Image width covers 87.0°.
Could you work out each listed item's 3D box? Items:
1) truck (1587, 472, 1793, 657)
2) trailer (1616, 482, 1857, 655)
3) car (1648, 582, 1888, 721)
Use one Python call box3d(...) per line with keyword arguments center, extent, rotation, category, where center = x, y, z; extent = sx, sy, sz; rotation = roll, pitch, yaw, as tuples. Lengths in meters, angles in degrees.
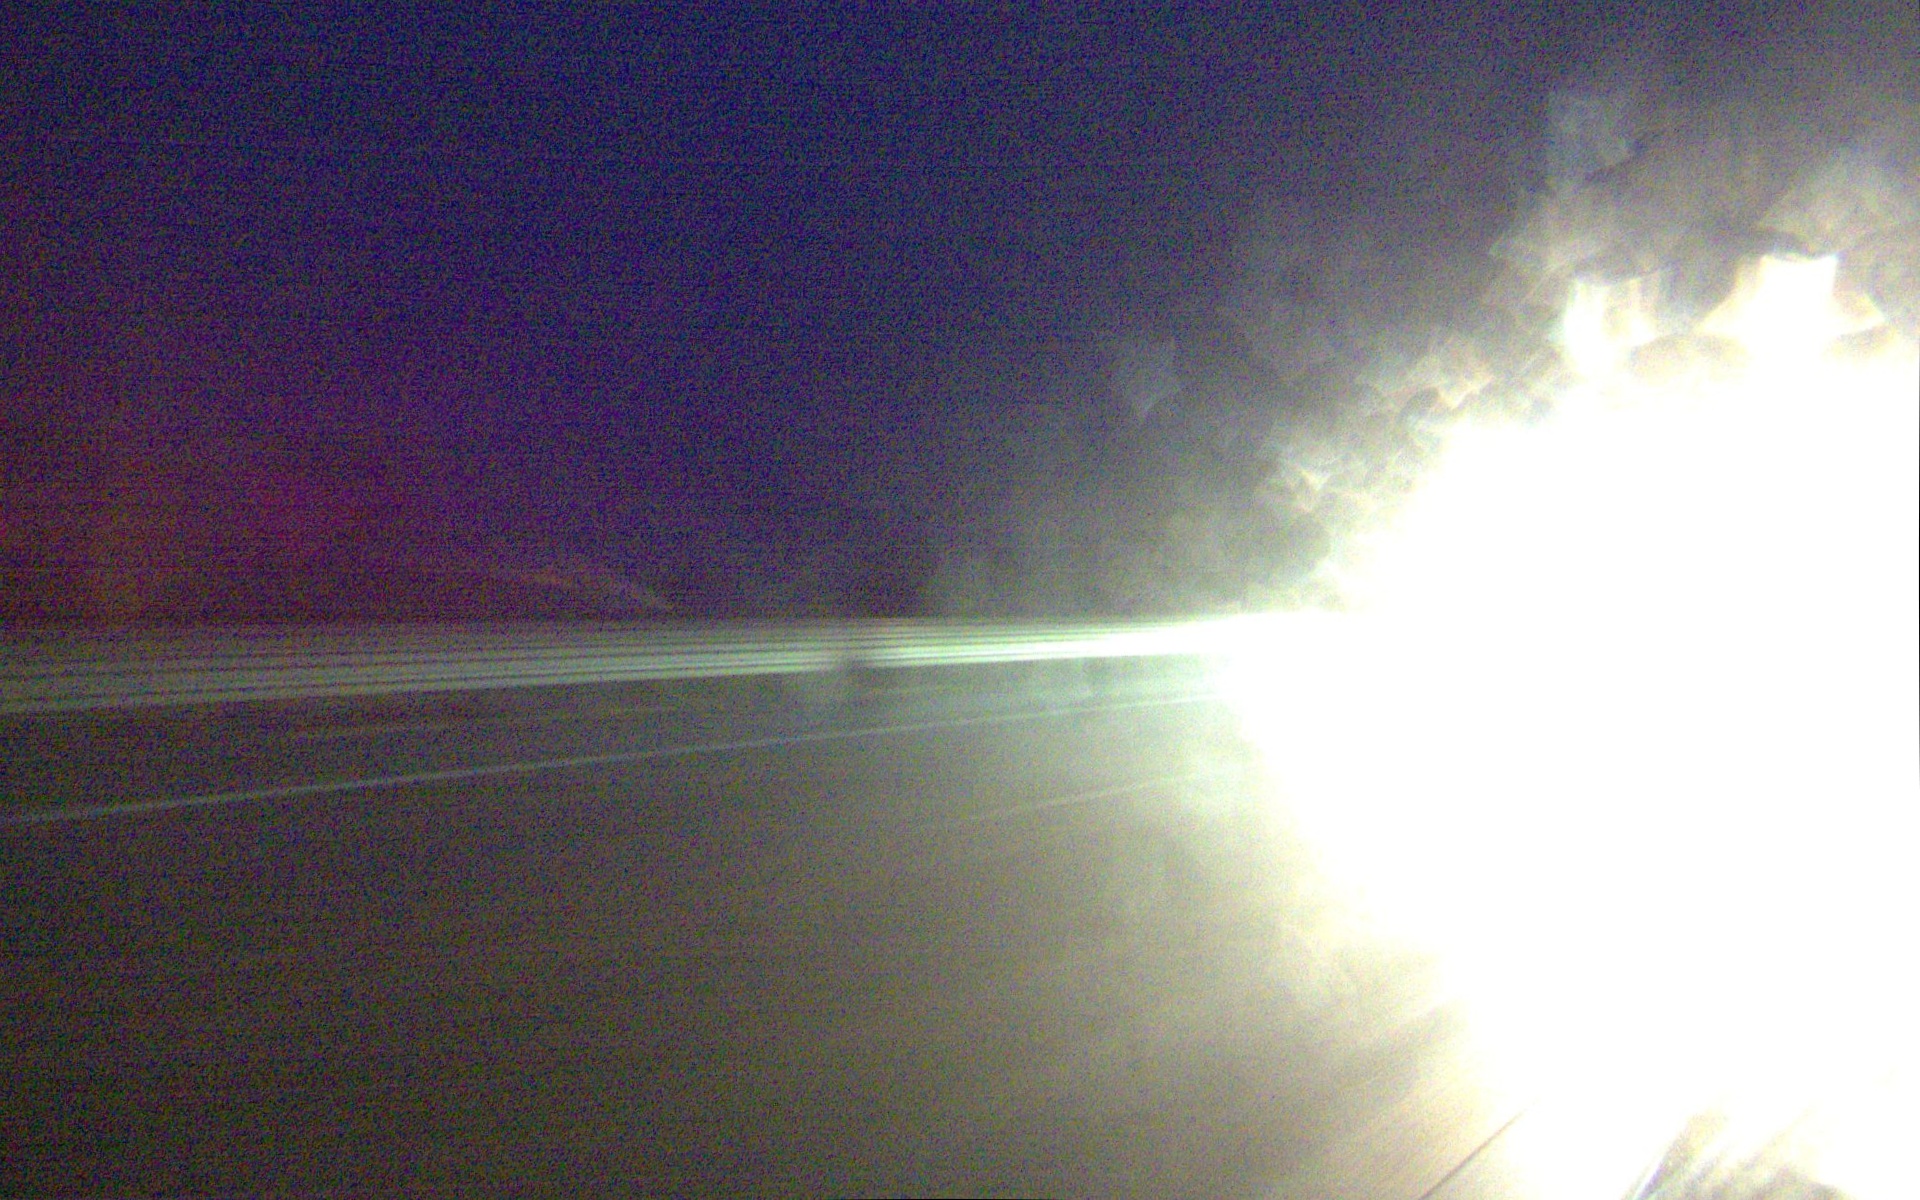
box3d(center=(18.759, -0.822, 25.881), extent=(5.925, 4.159, 2.909), rotation=(1, 1, -41), category="truck")
box3d(center=(23.541, -0.738, 30.124), extent=(14.235, 4.159, 2.908), rotation=(1, 1, -42), category="trailer")
box3d(center=(11.137, 0.595, 13.837), extent=(4.414, 1.595, 1.744), rotation=(0, 1, -40), category="car")
